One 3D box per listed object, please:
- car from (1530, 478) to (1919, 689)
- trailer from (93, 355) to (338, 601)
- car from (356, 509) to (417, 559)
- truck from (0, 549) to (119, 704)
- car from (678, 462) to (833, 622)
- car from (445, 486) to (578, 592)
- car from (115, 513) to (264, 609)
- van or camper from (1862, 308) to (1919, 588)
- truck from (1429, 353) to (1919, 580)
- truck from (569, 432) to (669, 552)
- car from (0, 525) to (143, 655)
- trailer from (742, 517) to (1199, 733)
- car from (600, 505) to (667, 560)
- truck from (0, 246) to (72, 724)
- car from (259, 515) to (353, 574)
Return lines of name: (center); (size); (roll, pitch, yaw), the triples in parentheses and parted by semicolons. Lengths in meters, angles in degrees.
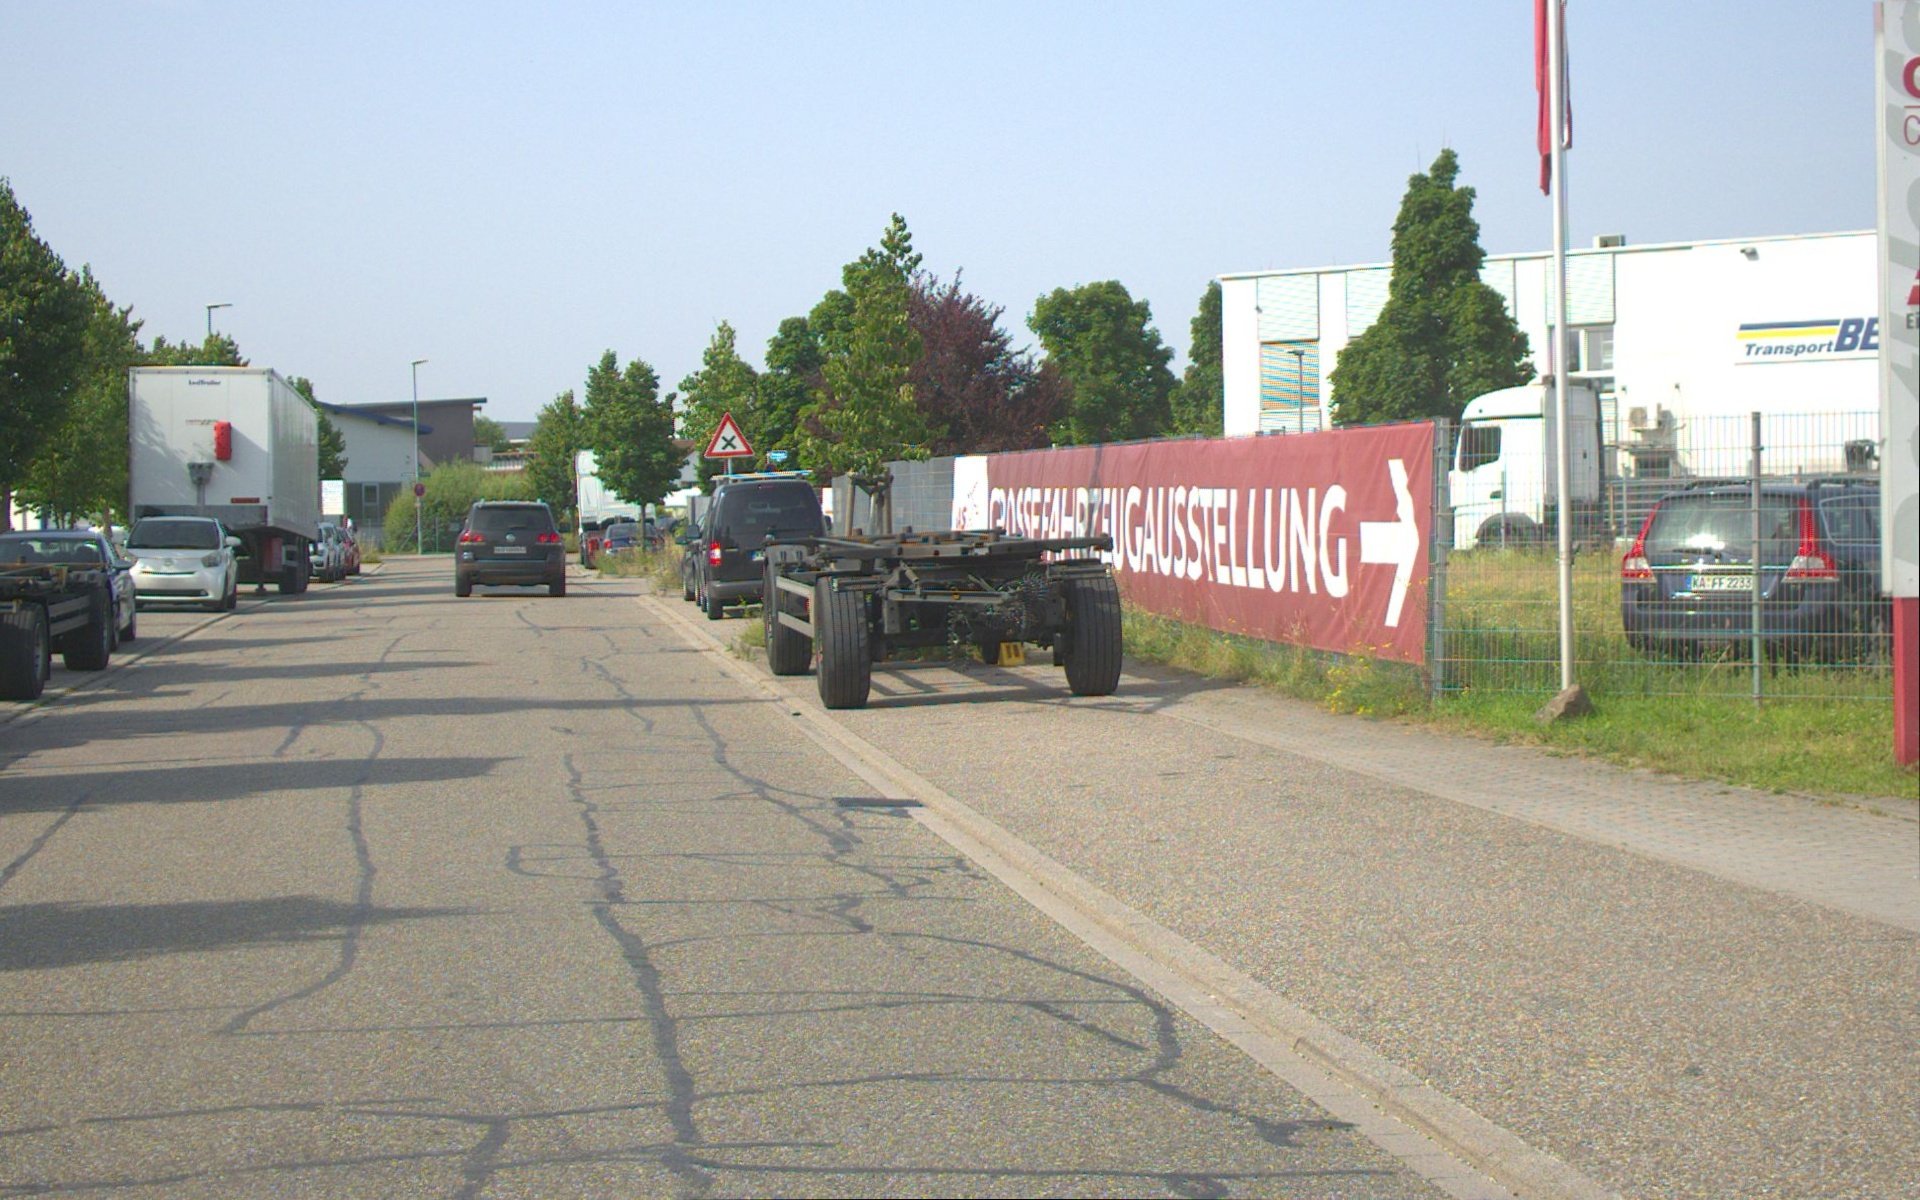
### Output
car: (6.520, -0.180, 26.057); (3.988, 1.471, 2.172); (-2, 2, -37)
trailer: (-14.590, -2.373, 68.541); (3.403, 4.325, 13.923); (-1, 2, -7)
car: (-20.782, -2.406, 124.680); (1.993, 1.765, 4.001); (-1, 2, -8)
truck: (-9.875, 0.212, 33.598); (2.523, 1.261, 6.529); (-1, 2, -8)
car: (-2.848, -0.832, 47.202); (1.818, 1.971, 4.001); (-5, 2, -5)
car: (-7.879, -1.101, 60.699); (1.993, 1.798, 4.001); (0, 2, -2)
car: (-12.188, -0.646, 54.562); (1.810, 1.422, 4.001); (-1, 2, -6)
van or camper: (13.238, -1.807, 39.966); (2.668, 3.073, 6.780); (1, 3, 40)
truck: (13.423, -2.409, 63.663); (9.303, 3.958, 2.454); (0, 2, 36)
truck: (-10.818, -3.419, 109.100); (2.886, 3.573, 8.064); (-2, 2, -6)
car: (-10.865, -0.151, 41.177); (1.884, 1.431, 4.001); (-2, 2, -11)
trailer: (-0.211, 0.061, 29.587); (2.622, 1.383, 9.457); (-3, 2, -7)
car: (-9.341, -1.952, 98.329); (1.818, 1.444, 3.802); (-2, 2, -6)
truck: (-8.884, -0.866, 25.310); (2.625, 3.915, 12.922); (-1, 2, -6)
car: (-17.810, -1.539, 93.767); (1.993, 1.517, 4.001); (-1, 2, -4)
